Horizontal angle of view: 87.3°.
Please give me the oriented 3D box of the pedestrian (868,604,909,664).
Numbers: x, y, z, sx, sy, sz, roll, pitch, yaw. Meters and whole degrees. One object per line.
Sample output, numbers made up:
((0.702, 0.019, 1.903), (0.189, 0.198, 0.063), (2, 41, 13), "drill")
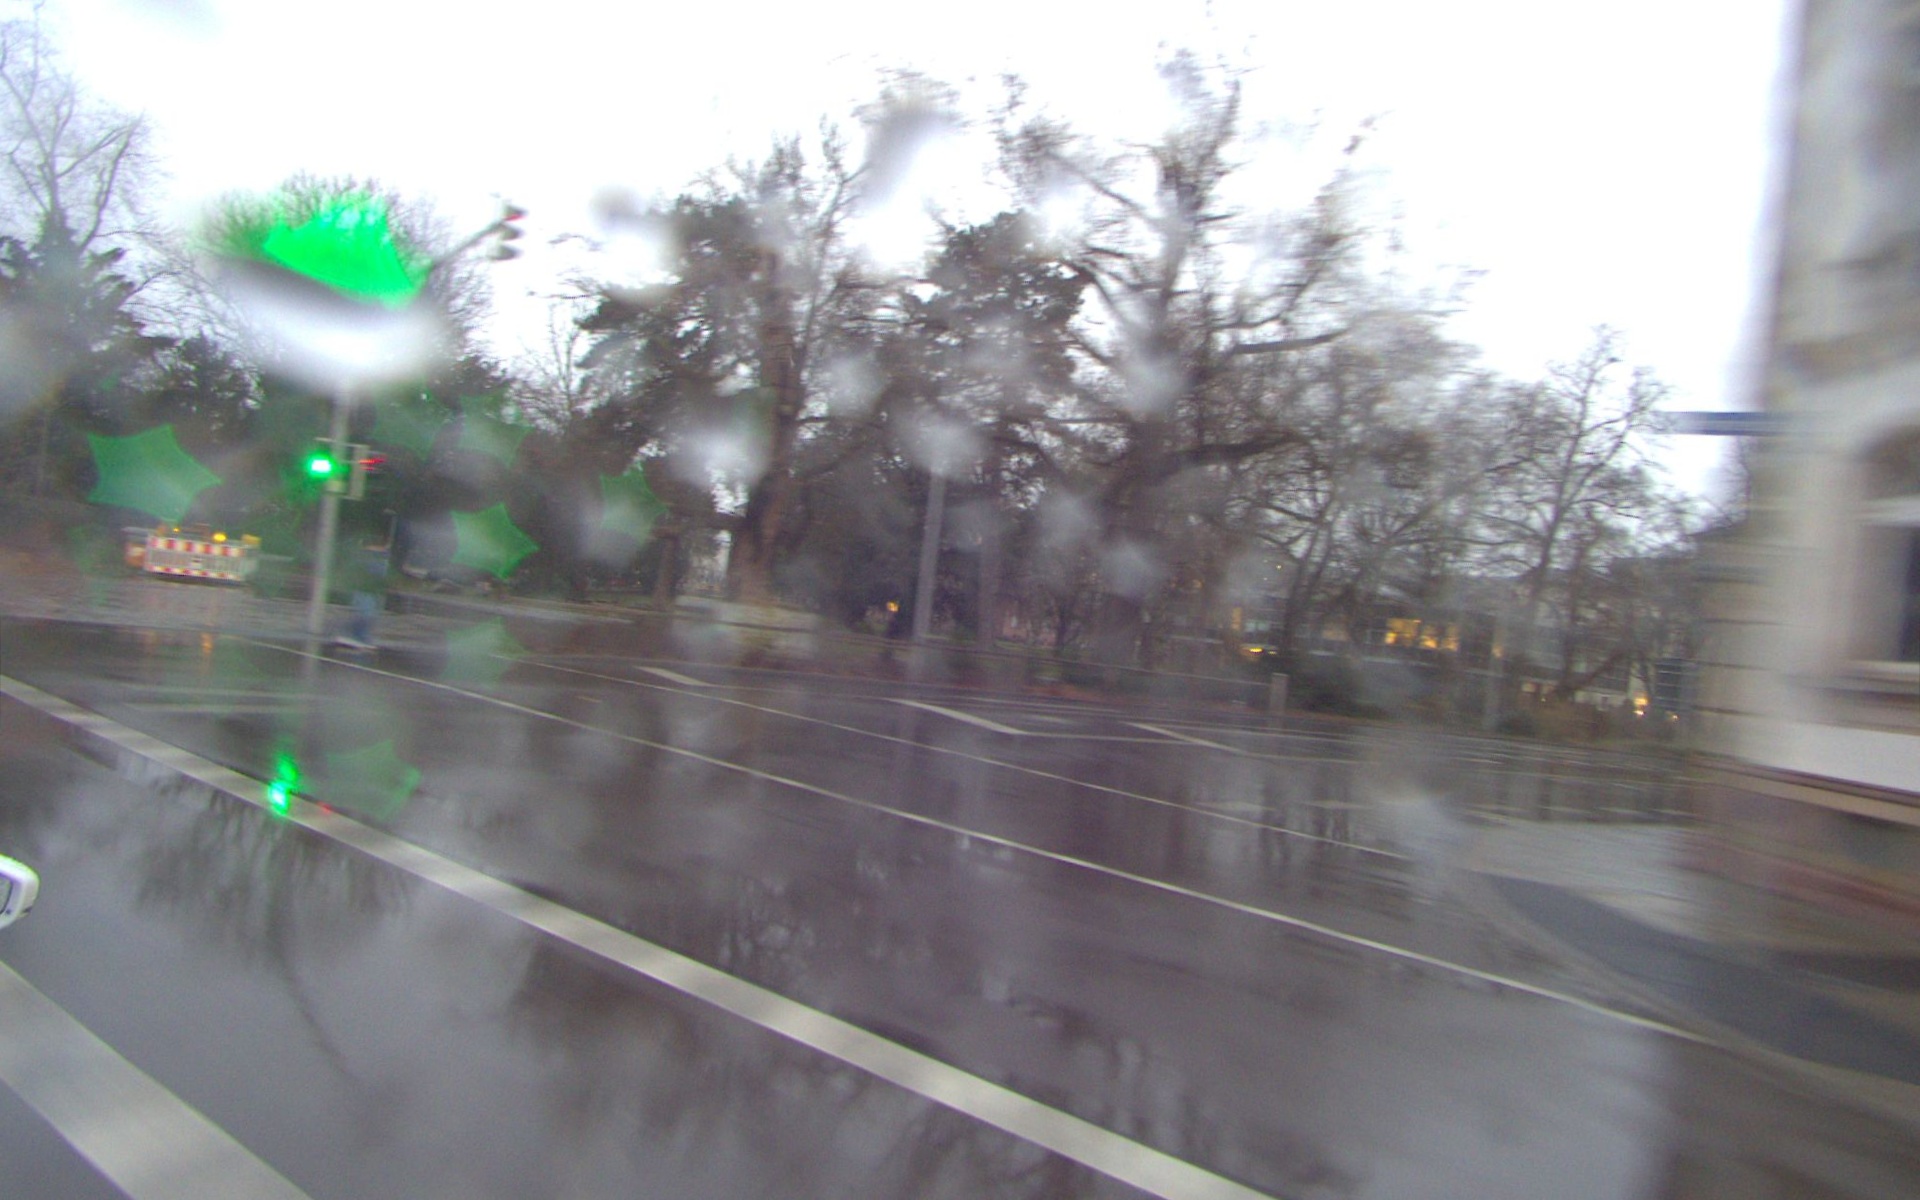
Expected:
((-2.115, 1.009, 29.950), (0.835, 1.659, 0.727), (7, -2, 13), "pedestrian")

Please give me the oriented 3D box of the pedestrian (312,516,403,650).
((-9.114, -0.241, 15.243), (0.662, 1.901, 0.716), (7, -1, 7), "pedestrian")

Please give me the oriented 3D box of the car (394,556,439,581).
((-59.126, -3.401, 109.442), (3.963, 2.036, 1.983), (9, -3, -33), "car")

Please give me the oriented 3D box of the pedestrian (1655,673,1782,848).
((9.495, 2.000, 12.594), (0.970, 2.003, 0.859), (9, -2, -36), "pedestrian")
